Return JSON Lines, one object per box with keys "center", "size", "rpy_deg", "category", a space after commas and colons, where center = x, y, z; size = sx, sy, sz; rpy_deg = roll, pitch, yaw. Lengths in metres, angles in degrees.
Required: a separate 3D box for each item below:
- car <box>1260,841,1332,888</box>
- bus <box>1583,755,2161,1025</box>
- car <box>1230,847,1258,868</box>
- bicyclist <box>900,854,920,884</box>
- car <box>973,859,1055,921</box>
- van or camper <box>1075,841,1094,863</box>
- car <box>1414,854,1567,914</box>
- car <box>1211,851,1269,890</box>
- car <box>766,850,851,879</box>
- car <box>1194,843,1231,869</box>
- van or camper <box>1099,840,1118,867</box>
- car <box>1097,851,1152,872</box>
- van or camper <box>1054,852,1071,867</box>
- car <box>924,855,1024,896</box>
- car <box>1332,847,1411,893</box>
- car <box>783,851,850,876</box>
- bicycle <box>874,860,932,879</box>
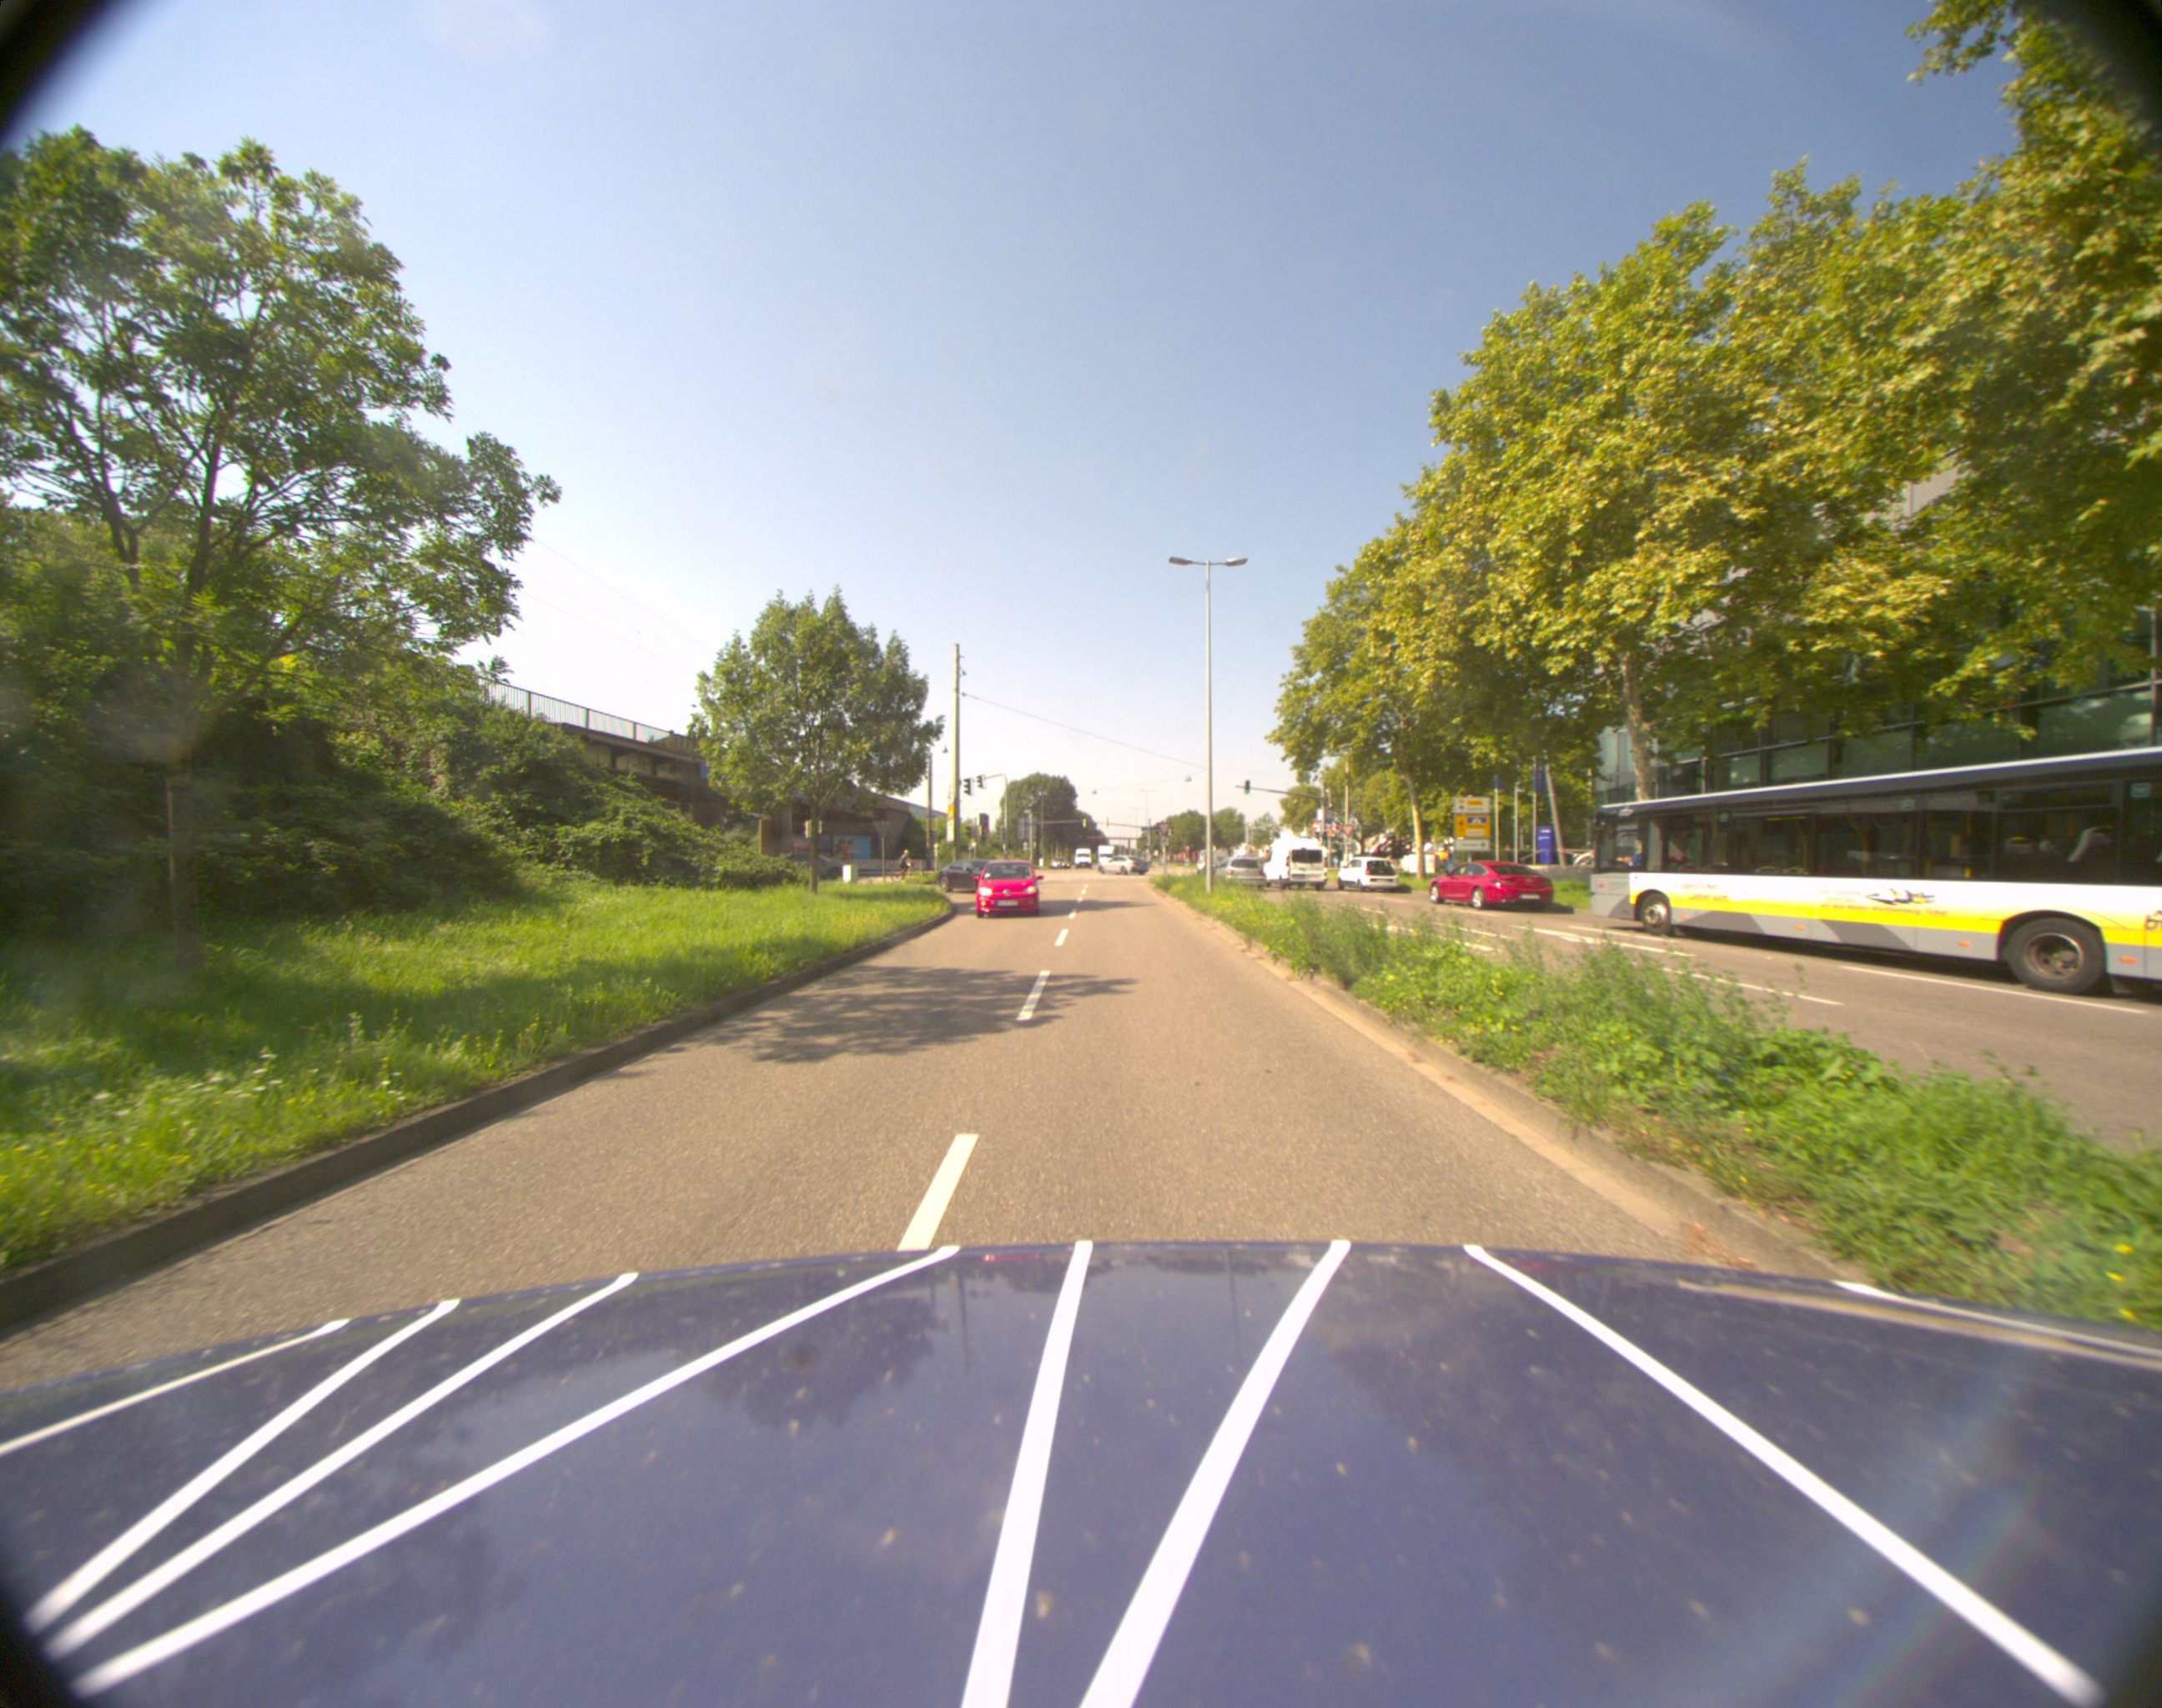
{"center": [9.774, 0.450, 34.962], "size": [1.932, 1.949, 5.190], "rpy_deg": [2, 0, 1], "category": "car"}
{"center": [12.136, 0.358, 10.935], "size": [2.668, 2.679, 10.905], "rpy_deg": [2, 1, 1], "category": "bus"}
{"center": [13.571, 0.288, 63.420], "size": [1.671, 1.527, 3.729], "rpy_deg": [1, 3, 3], "category": "car"}
{"center": [-9.516, 0.826, 42.352], "size": [0.971, 1.648, 0.711], "rpy_deg": [0, 0, -22], "category": "bicyclist"}
{"center": [-1.744, 0.925, 20.784], "size": [1.642, 1.458, 3.555], "rpy_deg": [-3, 0, 4], "category": "car"}
{"center": [0.458, -0.228, 98.275], "size": [2.247, 2.467, 6.869], "rpy_deg": [-2, -2, 2], "category": "van or camper"}
{"center": [12.312, 0.826, 23.313], "size": [1.784, 1.502, 5.211], "rpy_deg": [2, 1, -1], "category": "car"}
{"center": [6.734, 0.684, 32.593], "size": [1.618, 1.526, 4.101], "rpy_deg": [2, -1, 1], "category": "car"}
{"center": [-16.136, 0.575, 45.039], "size": [4.482, 1.608, 1.903], "rpy_deg": [0, 1, -31], "category": "car"}
{"center": [10.015, 0.183, 58.302], "size": [1.932, 1.946, 5.213], "rpy_deg": [0, 0, 0], "category": "car"}
{"center": [3.754, -0.027, 103.333], "size": [2.247, 3.341, 6.855], "rpy_deg": [-2, -2, 4], "category": "van or camper"}
{"center": [3.232, 0.524, 57.123], "size": [1.845, 1.435, 4.594], "rpy_deg": [2, 0, -31], "category": "car"}
{"center": [-2.352, 0.706, 96.065], "size": [1.850, 1.765, 4.177], "rpy_deg": [-2, -2, 2], "category": "van or camper"}
{"center": [-4.696, 0.879, 32.748], "size": [2.004, 1.455, 4.872], "rpy_deg": [-1, 2, -39], "category": "car"}
{"center": [12.946, 0.644, 34.135], "size": [1.932, 1.885, 3.975], "rpy_deg": [2, 1, 0], "category": "car"}
{"center": [-16.854, 0.603, 48.435], "size": [3.703, 1.529, 1.722], "rpy_deg": [0, 1, -37], "category": "car"}
{"center": [-9.901, 0.830, 42.191], "size": [2.981, 1.043, 1.233], "rpy_deg": [0, 0, -22], "category": "bicycle"}
